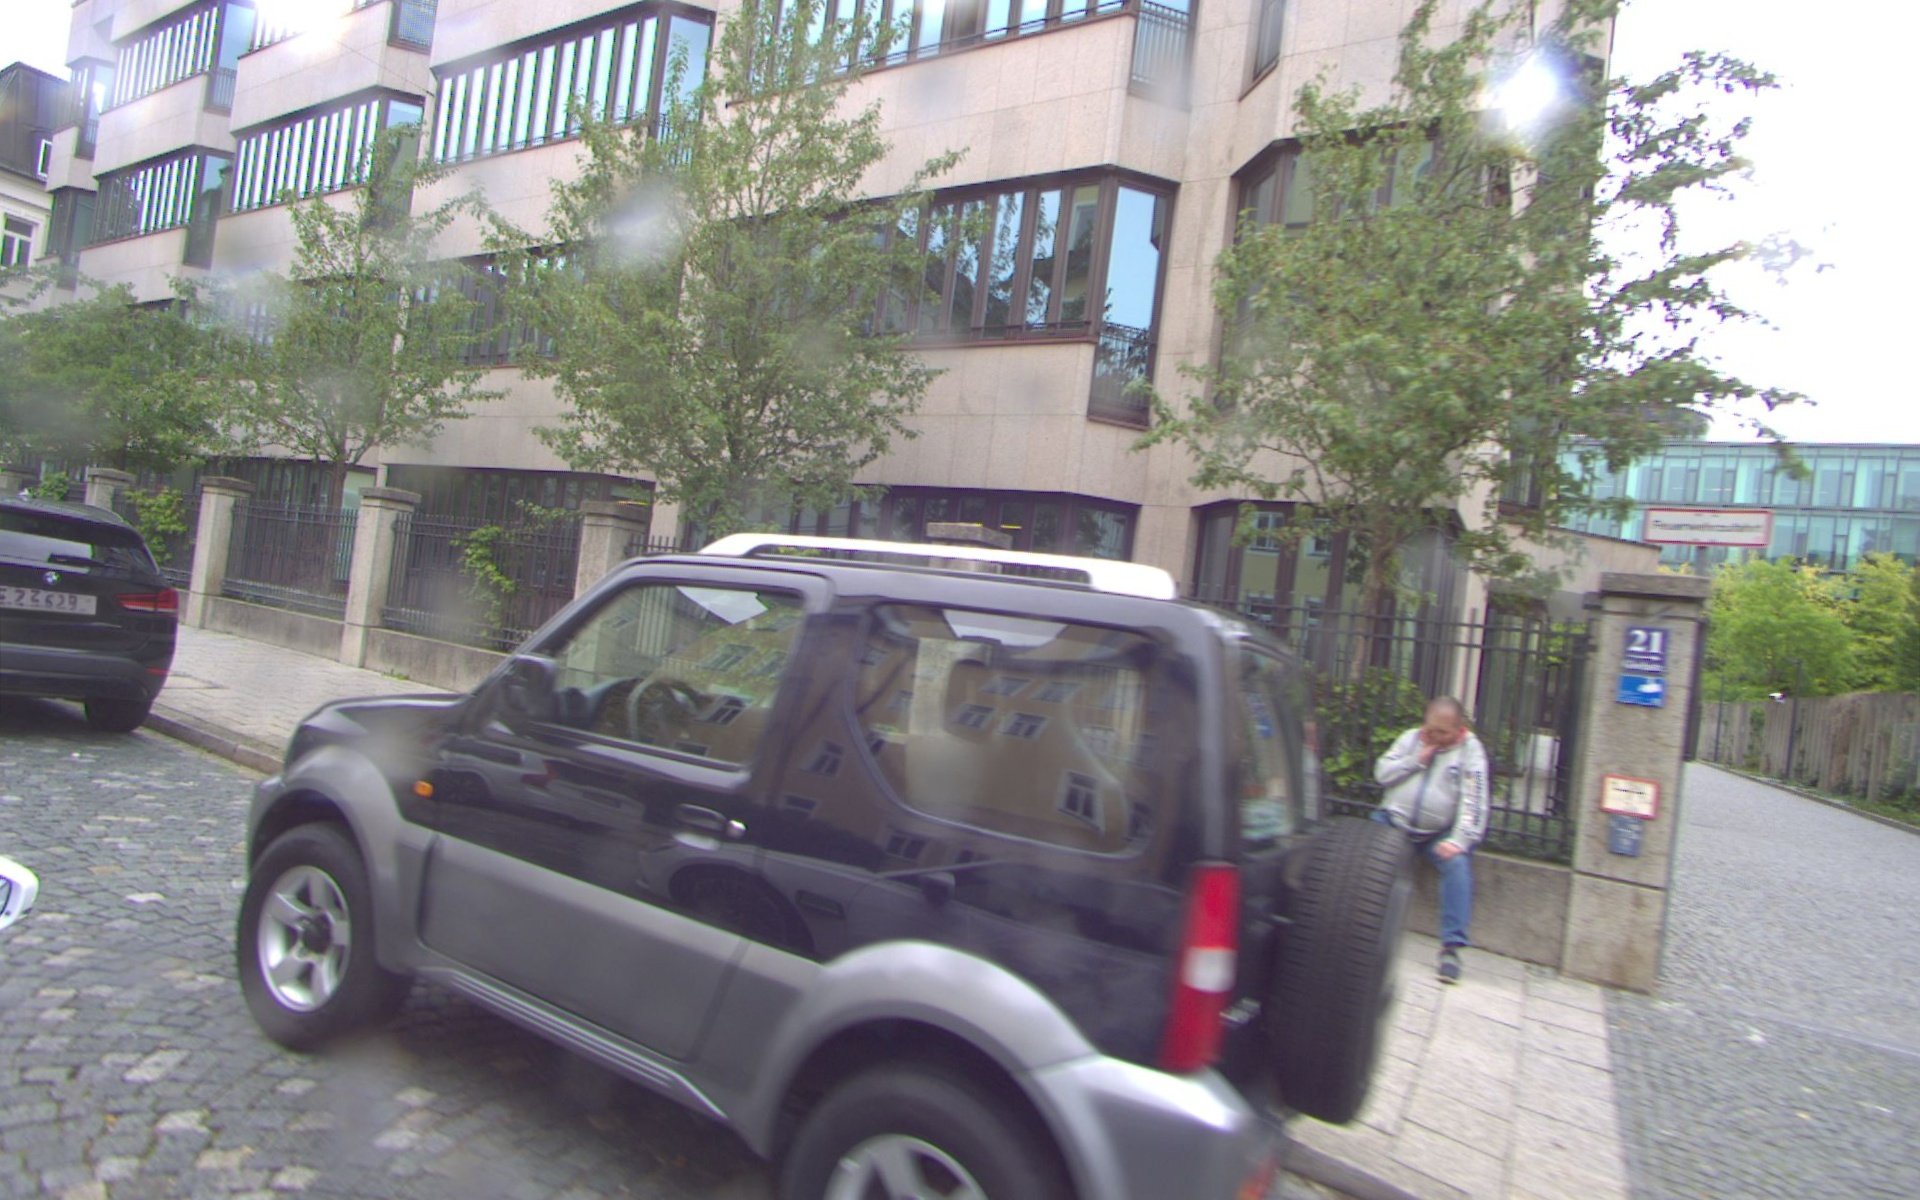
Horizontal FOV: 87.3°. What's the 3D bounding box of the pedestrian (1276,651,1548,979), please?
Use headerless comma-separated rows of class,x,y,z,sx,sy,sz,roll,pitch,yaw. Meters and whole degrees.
pedestrian,2.642,1.123,5.832,1.111,1.512,1.217,7,2,33

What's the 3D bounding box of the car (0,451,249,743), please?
car,-7.654,-0.221,7.550,4.733,1.720,1.867,7,-4,31

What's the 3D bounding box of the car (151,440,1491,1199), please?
car,-0.589,0.632,3.197,3.821,1.769,1.624,7,-4,30

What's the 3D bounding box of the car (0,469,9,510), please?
car,-12.108,-0.789,10.467,4.433,1.814,1.795,7,-5,30
